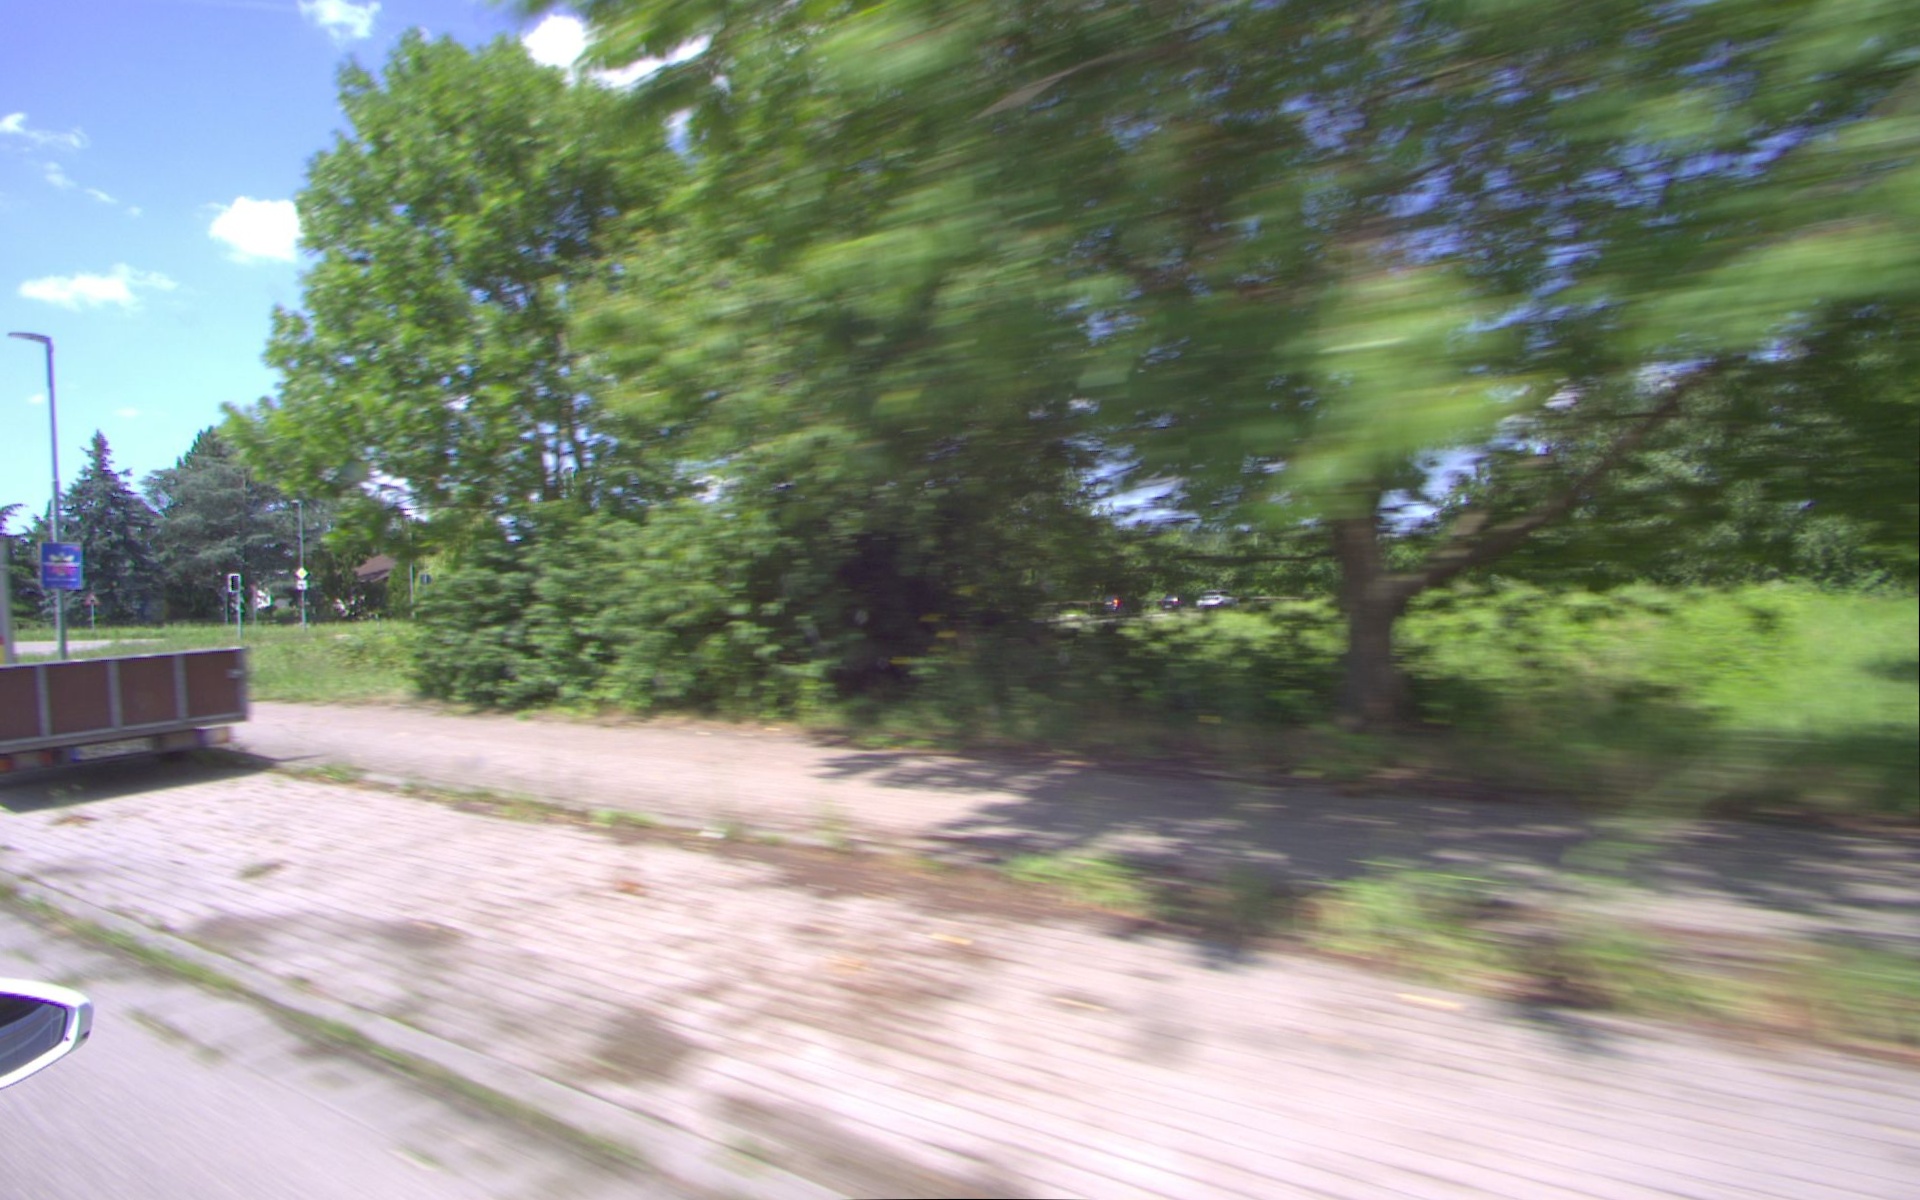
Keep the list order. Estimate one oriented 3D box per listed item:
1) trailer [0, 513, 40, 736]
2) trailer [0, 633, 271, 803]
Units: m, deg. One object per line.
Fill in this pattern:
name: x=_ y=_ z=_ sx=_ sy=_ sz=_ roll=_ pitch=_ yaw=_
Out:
trailer: x=-13.316 y=0.348 z=12.147 sx=4.674 sy=2.543 sz=1.913 roll=-1 pitch=3 yaw=33
trailer: x=-8.630 y=0.971 z=9.494 sx=4.429 sy=1.138 sz=1.997 roll=-2 pitch=3 yaw=35
